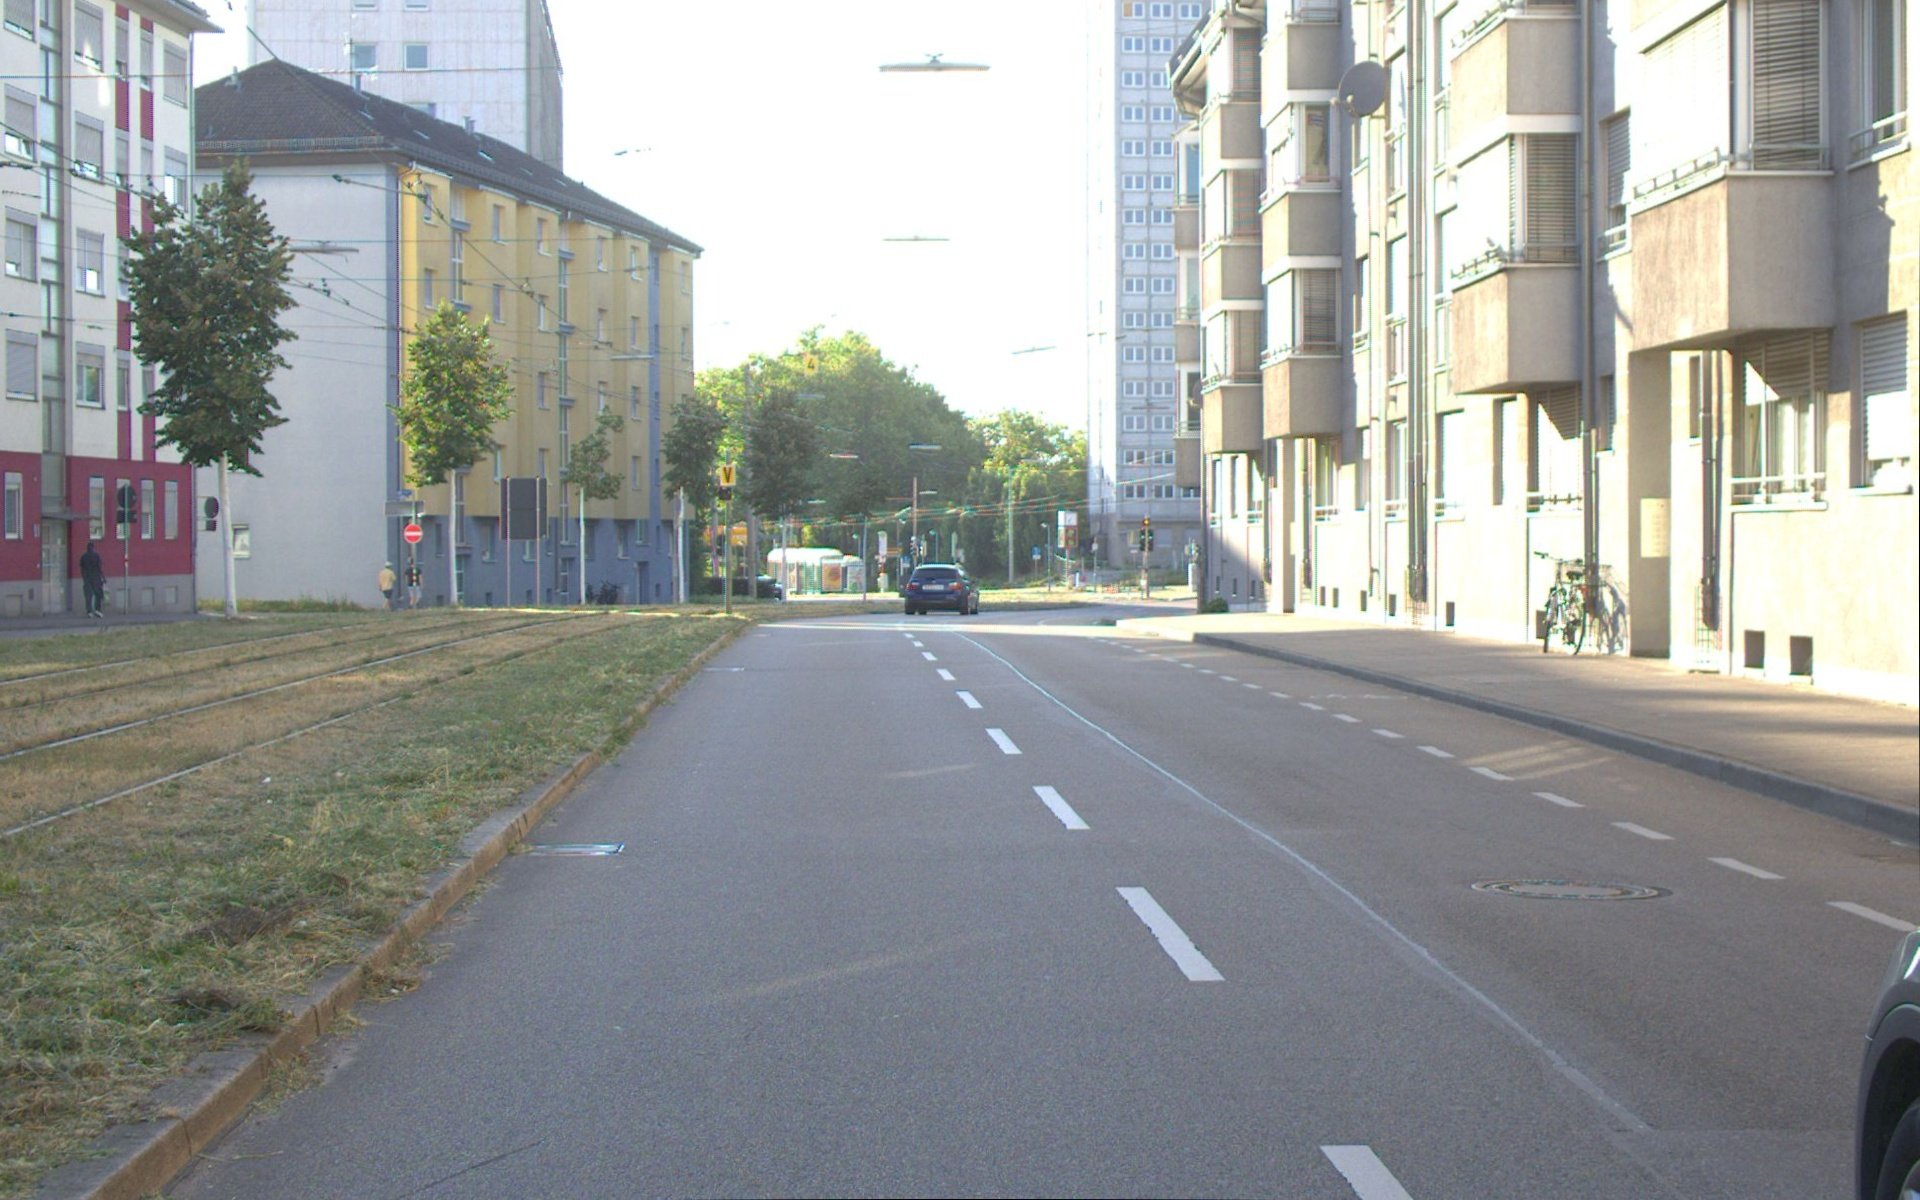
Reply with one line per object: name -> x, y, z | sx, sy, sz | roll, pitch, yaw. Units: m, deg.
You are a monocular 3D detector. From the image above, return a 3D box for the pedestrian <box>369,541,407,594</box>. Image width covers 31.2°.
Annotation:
pedestrian -> -18.250, -1.034, 109.719 | 0.962, 1.688, 1.011 | 1, 0, 4

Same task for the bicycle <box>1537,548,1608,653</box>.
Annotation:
bicycle -> 6.529, 0.000, 36.699 | 0.383, 1.092, 1.504 | -1, 0, -4

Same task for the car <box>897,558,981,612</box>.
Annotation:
car -> -0.566, -0.431, 97.246 | 1.927, 1.451, 4.326 | 1, 0, 6

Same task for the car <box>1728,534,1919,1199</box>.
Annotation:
car -> 2.308, 0.701, 3.927 | 1.697, 1.547, 4.226 | 1, 0, -3

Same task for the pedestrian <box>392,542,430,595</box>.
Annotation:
pedestrian -> -17.503, -1.007, 109.564 | 0.962, 1.664, 1.011 | 1, 0, 4

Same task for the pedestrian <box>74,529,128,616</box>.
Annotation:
pedestrian -> -20.443, -0.657, 81.837 | 1.005, 2.028, 0.886 | 1, 0, 3
